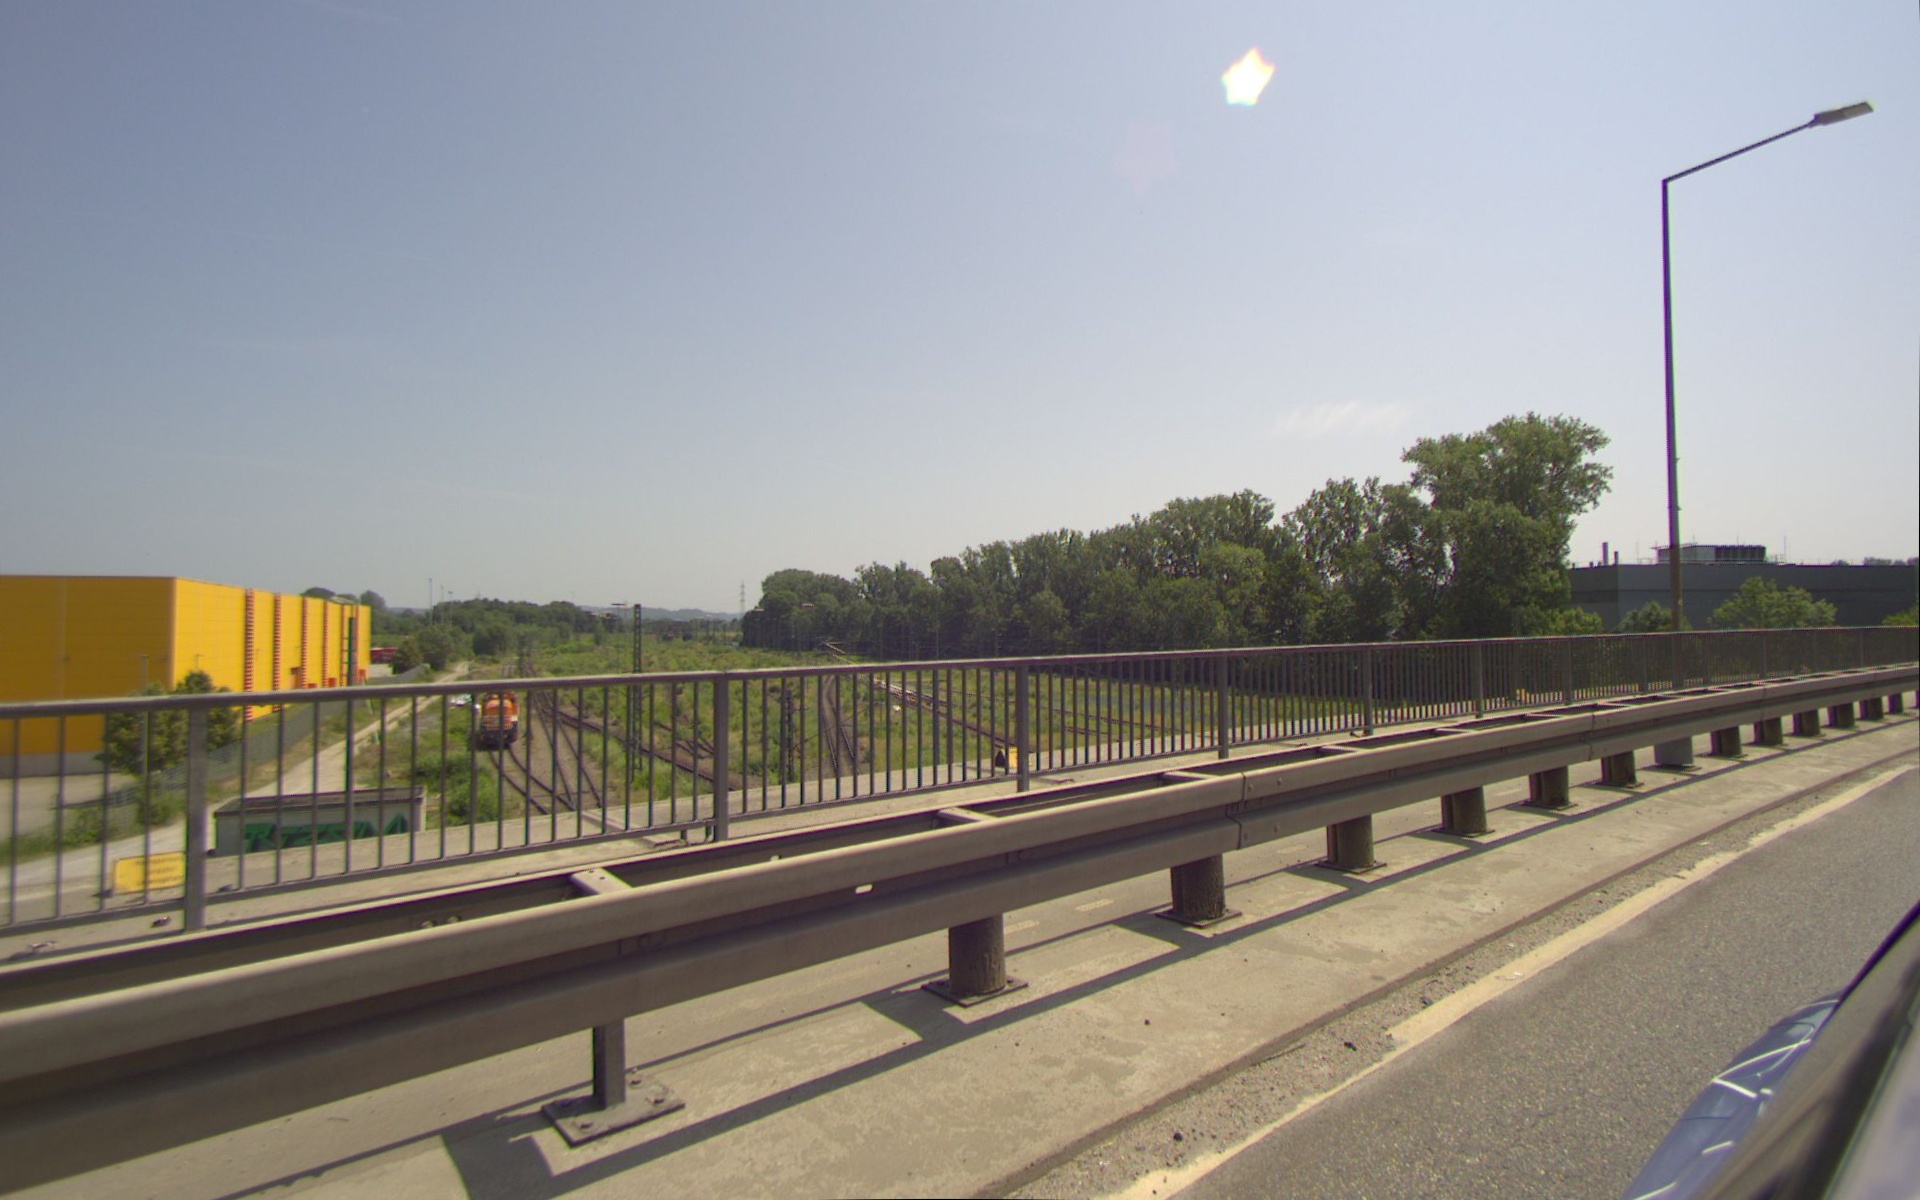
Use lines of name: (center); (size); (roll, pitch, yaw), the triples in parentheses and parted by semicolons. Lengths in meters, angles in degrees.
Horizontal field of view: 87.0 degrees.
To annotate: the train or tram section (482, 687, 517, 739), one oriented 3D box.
train or tram section: (-40.316, 9.662, 88.402); (2.193, 3.738, 14.021); (1, -3, -26)
